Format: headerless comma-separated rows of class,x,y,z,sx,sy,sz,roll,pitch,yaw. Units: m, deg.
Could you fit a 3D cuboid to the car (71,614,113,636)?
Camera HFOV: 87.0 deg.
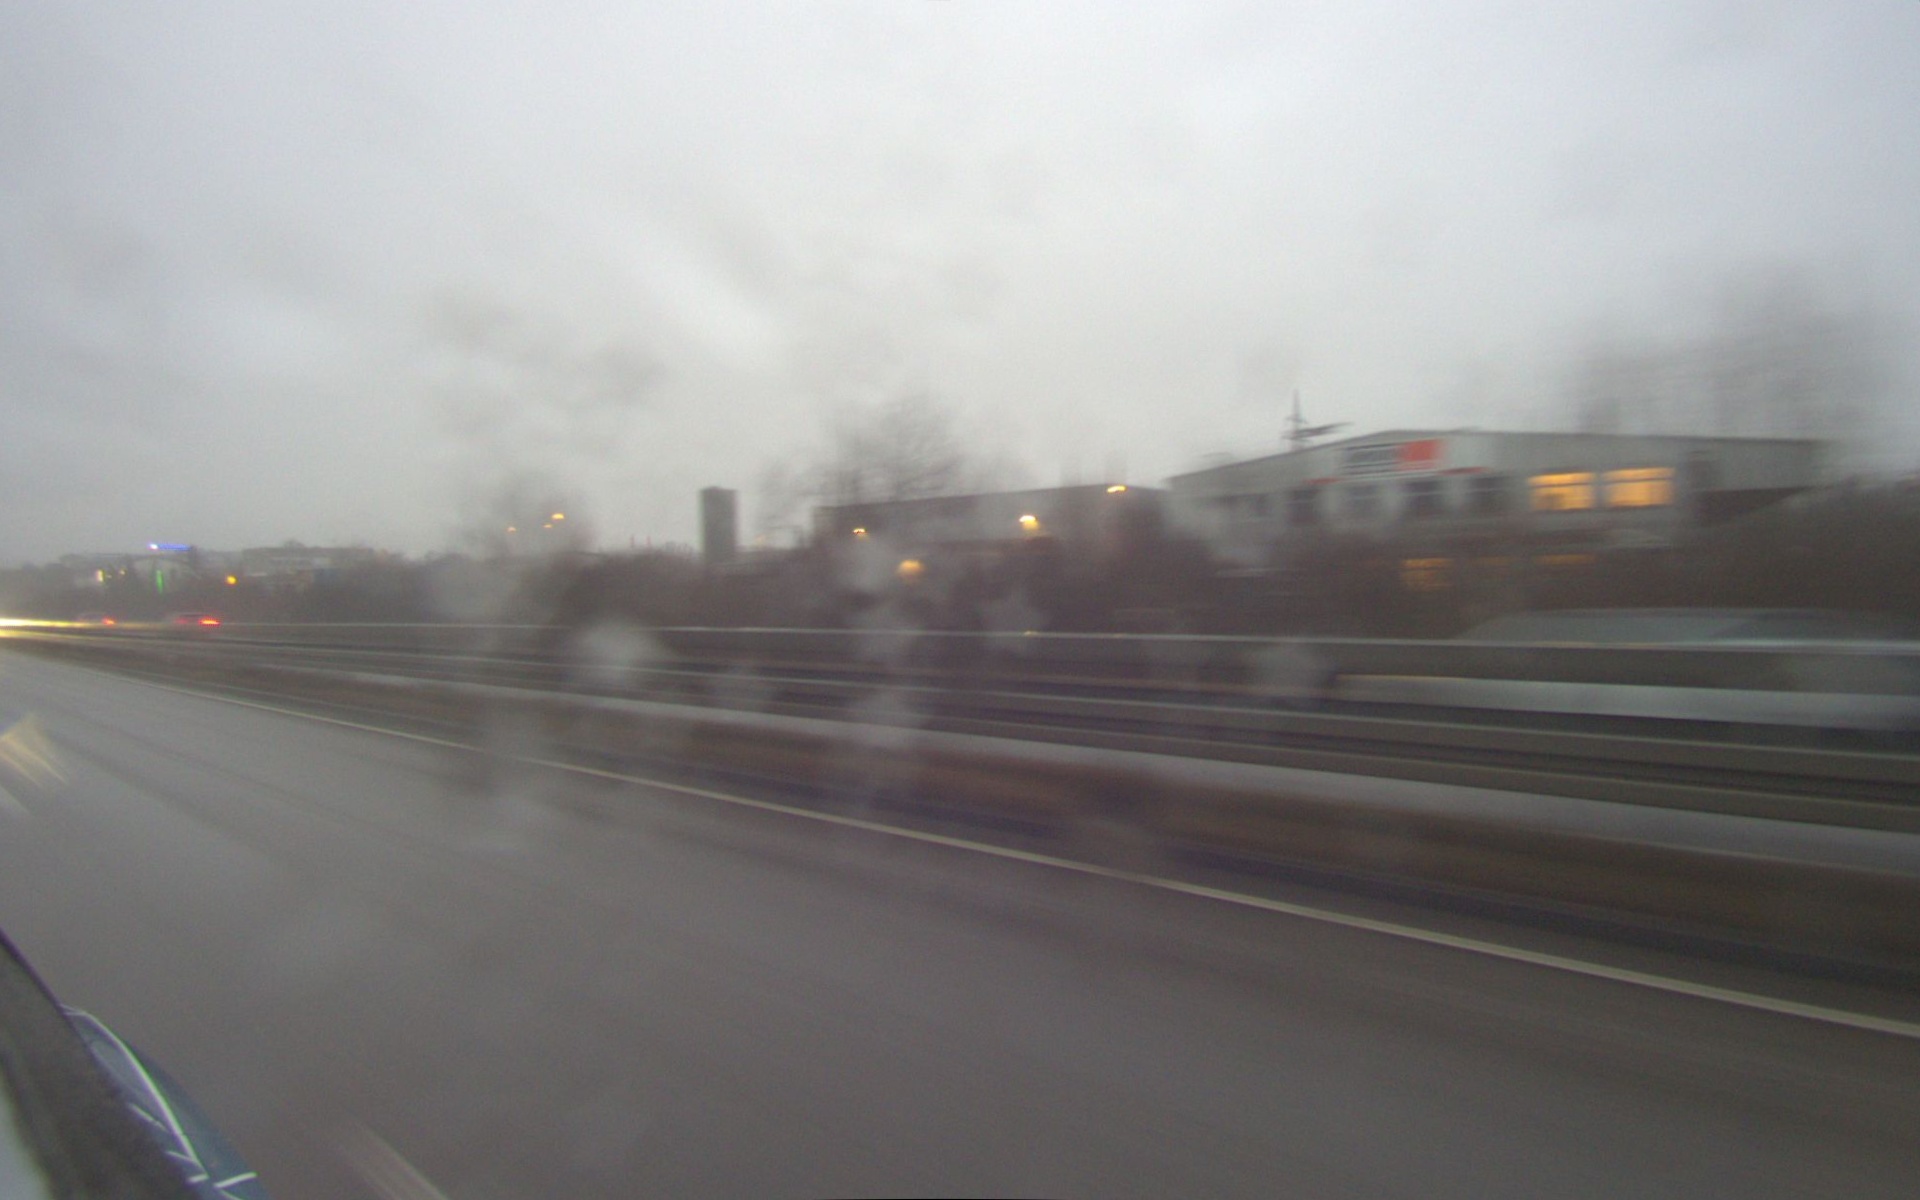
car,-60.029,1.694,69.967,4.364,1.486,1.685,-1,0,42

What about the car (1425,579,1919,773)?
car,7.375,0.655,10.281,4.523,1.639,1.745,-1,0,40

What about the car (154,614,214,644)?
car,-40.321,1.482,52.543,4.364,1.486,1.685,-1,0,42
